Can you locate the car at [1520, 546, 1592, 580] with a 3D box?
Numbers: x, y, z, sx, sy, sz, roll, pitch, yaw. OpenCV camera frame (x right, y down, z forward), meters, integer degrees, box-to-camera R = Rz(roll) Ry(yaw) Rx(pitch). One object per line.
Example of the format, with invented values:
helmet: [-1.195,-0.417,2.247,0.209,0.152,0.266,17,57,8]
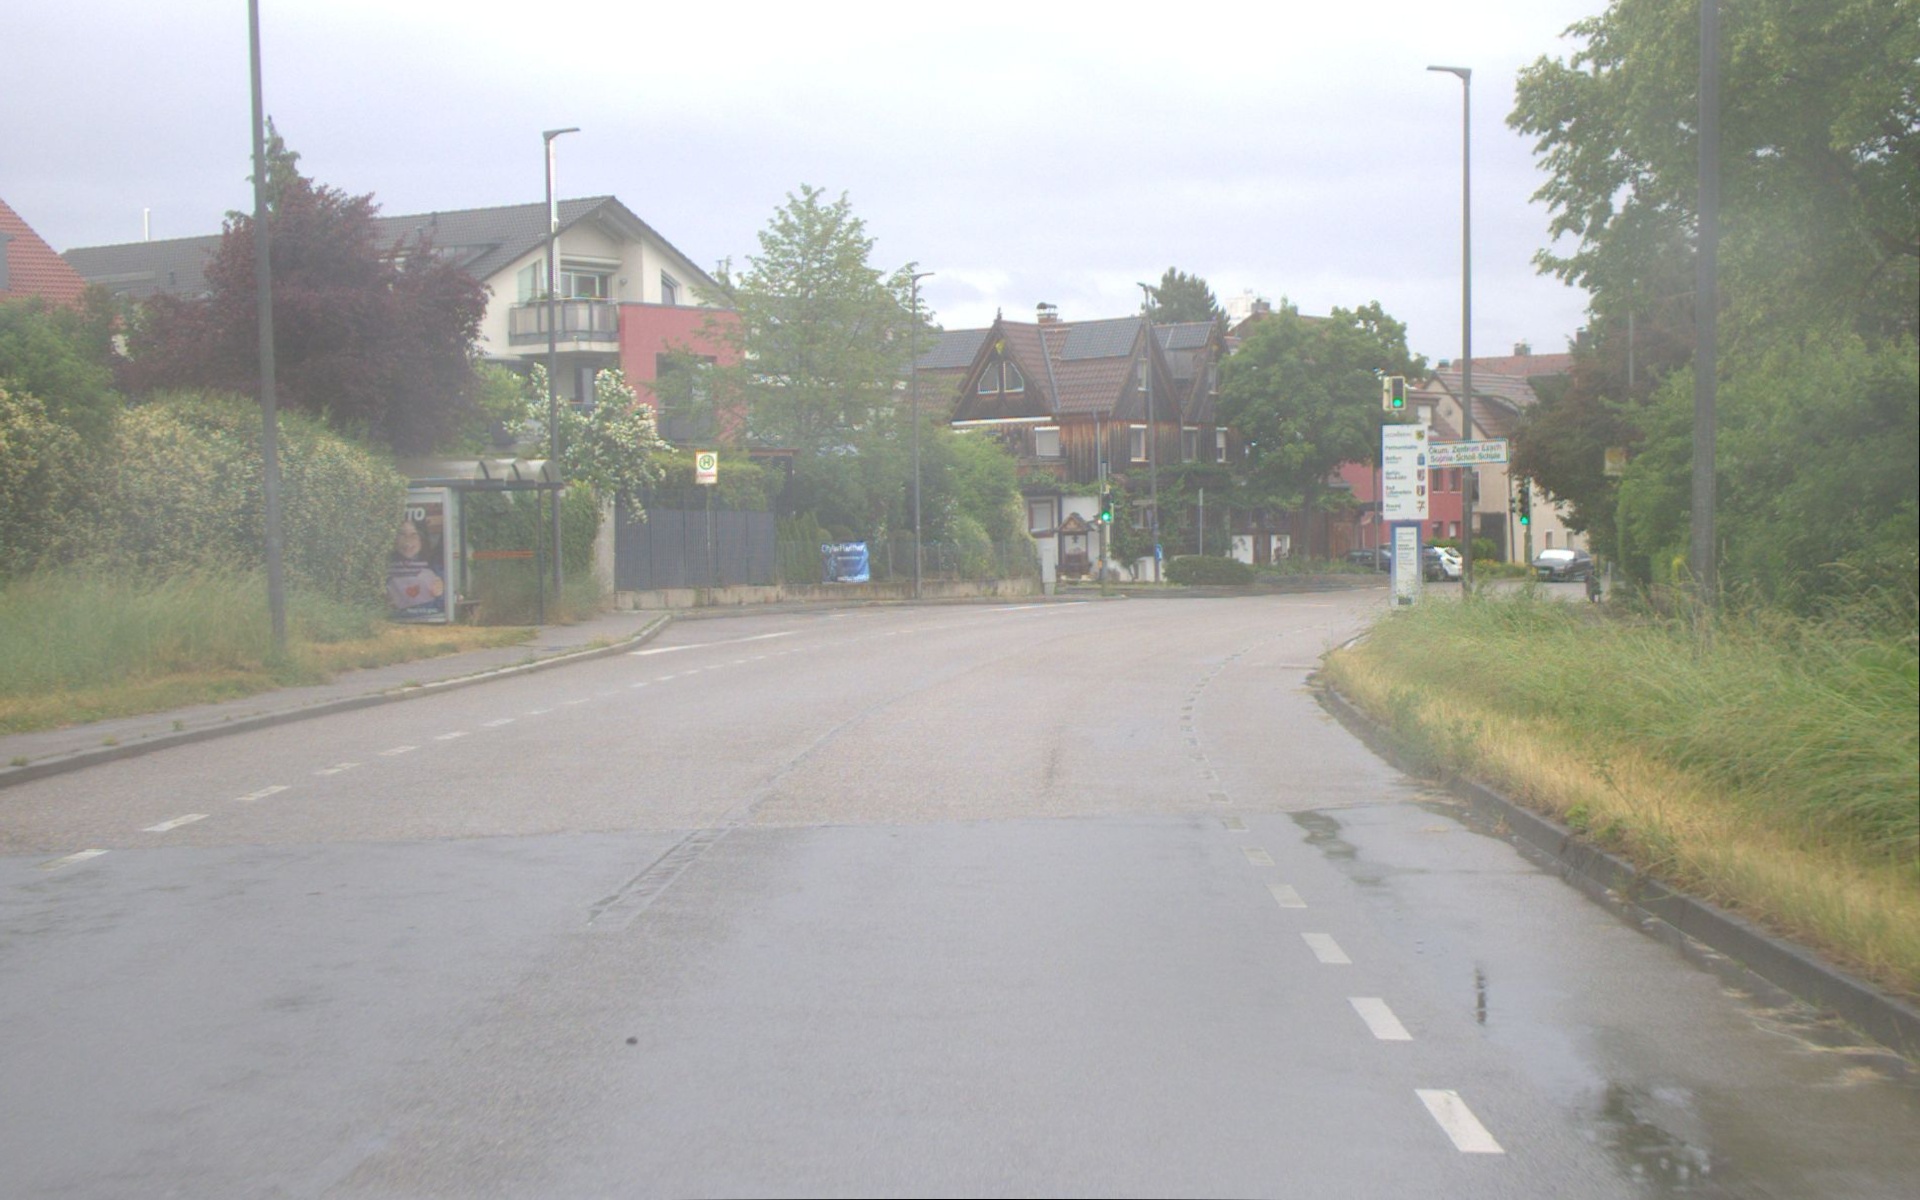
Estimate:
car: [24.972,-1.550,143.955,1.629,1.351,4.104,2,2,30]

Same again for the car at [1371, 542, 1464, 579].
car: [18.916,-1.628,142.107,3.467,1.474,1.588,0,0,33]

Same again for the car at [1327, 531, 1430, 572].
car: [16.651,-1.929,136.731,3.583,1.501,1.852,3,2,35]
